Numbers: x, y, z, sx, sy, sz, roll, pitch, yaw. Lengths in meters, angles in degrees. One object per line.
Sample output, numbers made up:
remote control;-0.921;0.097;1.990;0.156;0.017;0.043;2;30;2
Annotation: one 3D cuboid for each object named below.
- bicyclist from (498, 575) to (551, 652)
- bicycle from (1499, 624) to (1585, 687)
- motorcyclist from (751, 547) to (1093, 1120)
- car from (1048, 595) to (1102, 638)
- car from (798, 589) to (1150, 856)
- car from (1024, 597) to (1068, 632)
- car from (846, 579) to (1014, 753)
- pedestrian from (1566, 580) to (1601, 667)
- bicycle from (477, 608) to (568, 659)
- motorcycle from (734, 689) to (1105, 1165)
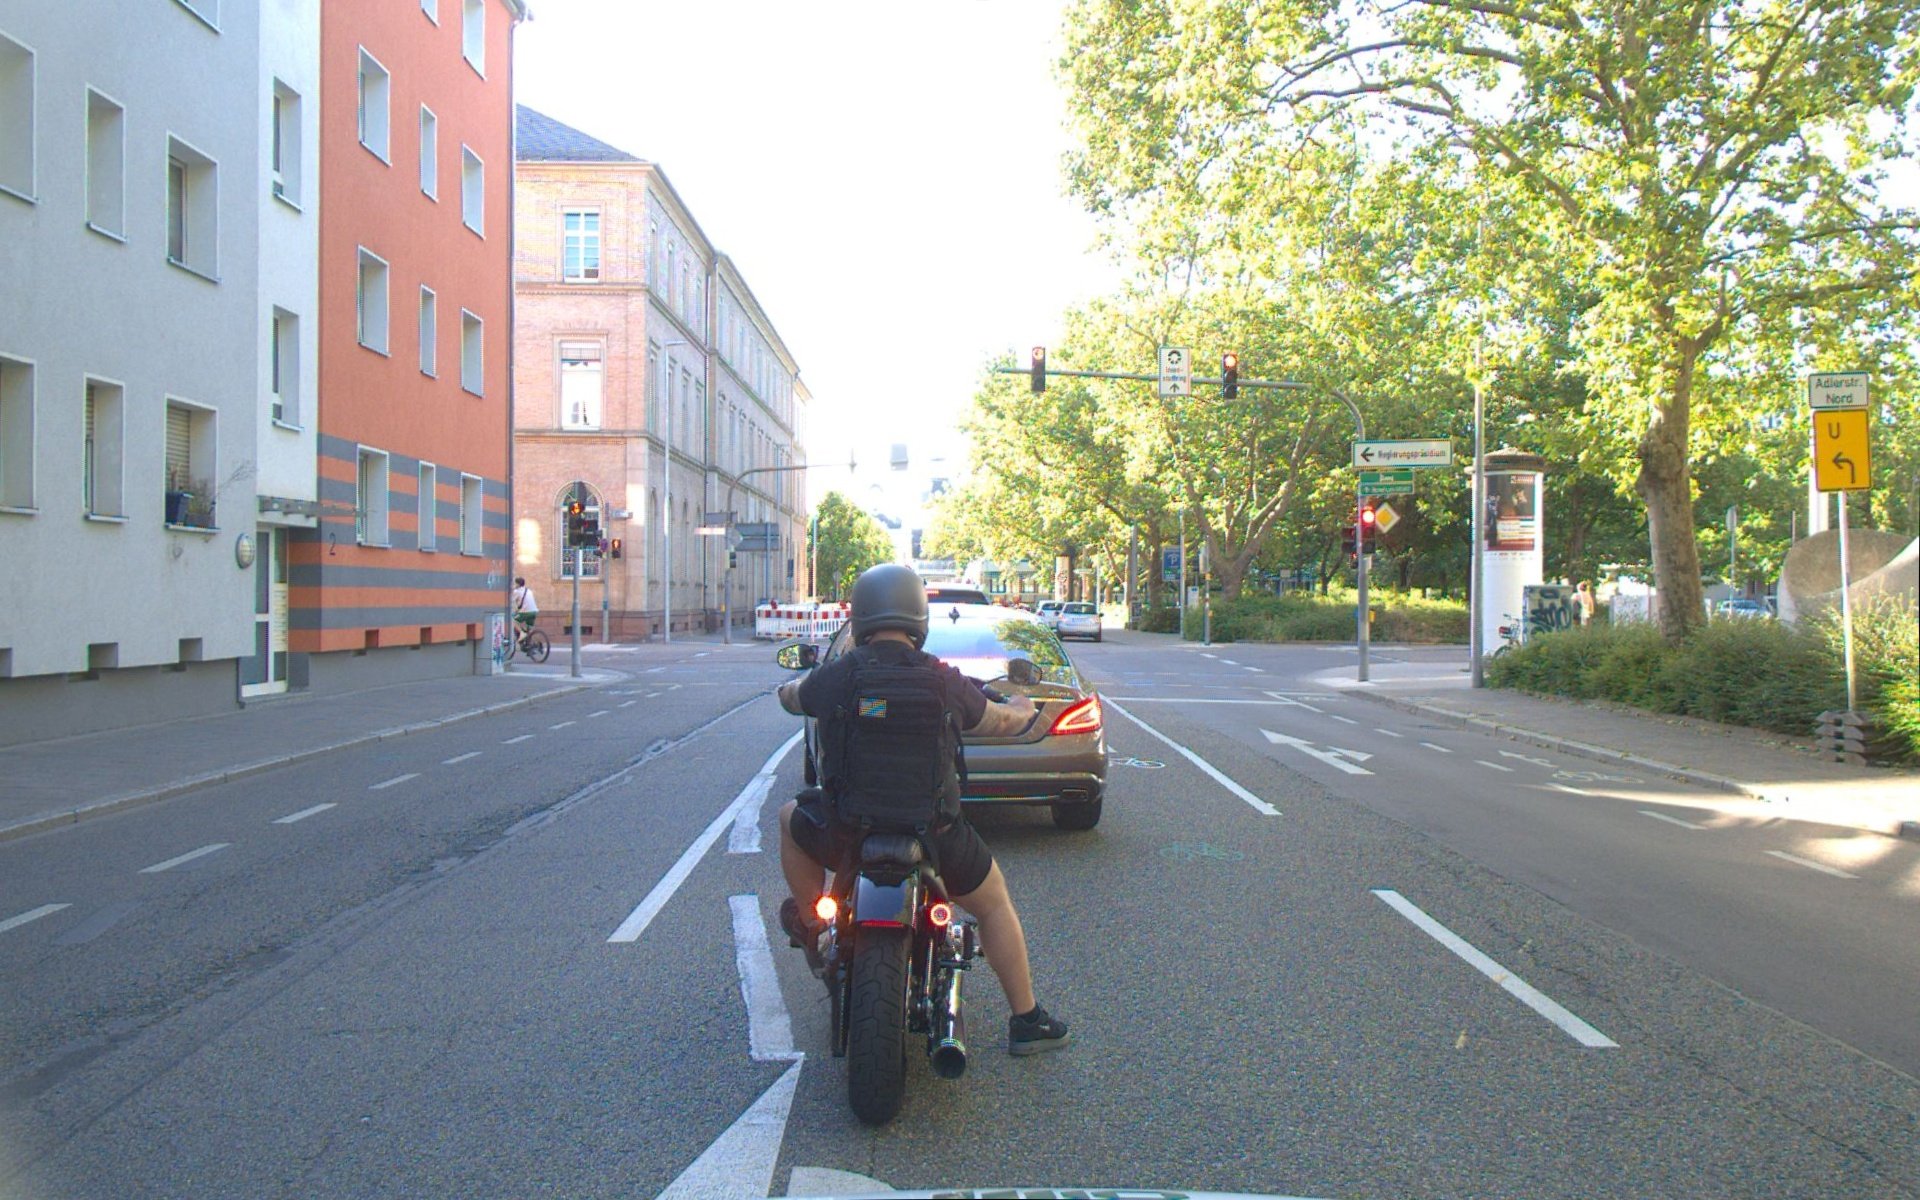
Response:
bicyclist;-9.821;0.301;37.292;0.941;1.722;0.706;0;0;8
bicycle;9.739;0.921;27.692;1.324;1.041;0.363;0;0;0
motorcyclist;-0.117;0.659;5.405;0.969;1.625;1.403;0;0;-1
car;4.212;0.604;61.170;1.784;1.506;3.909;-1;0;1
car;-0.117;0.680;11.599;1.909;1.498;4.355;0;0;-7
car;3.906;0.653;75.675;1.817;1.512;3.908;1;0;1
car;-0.339;0.615;17.762;1.580;1.636;4.327;0;0;-2
pedestrian;13.551;0.510;35.946;0.540;1.881;0.593;0;0;0
bicycle;-9.854;0.752;37.283;1.833;1.123;0.706;0;0;8
motorcycle;-0.122;0.922;5.559;0.969;1.097;2.451;0;0;-1
